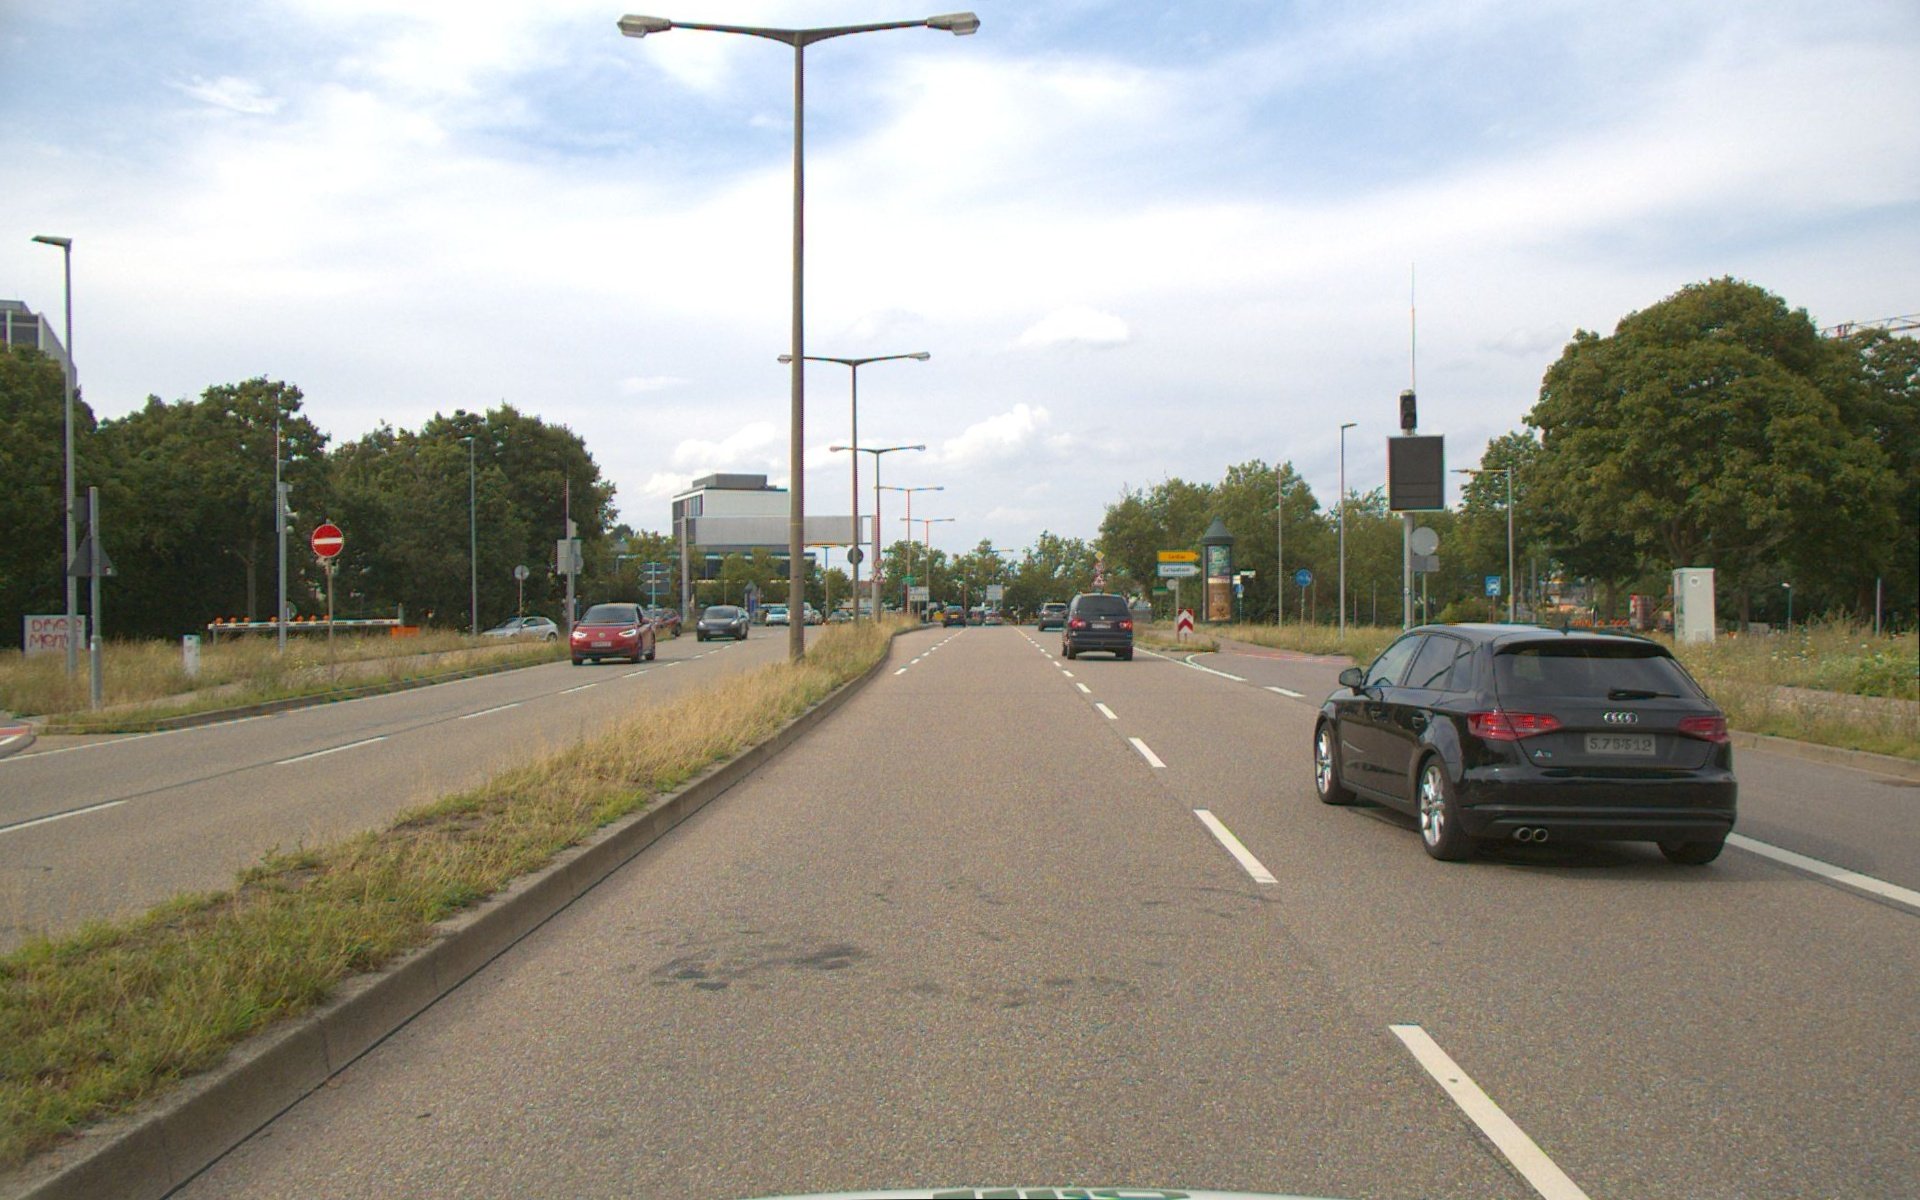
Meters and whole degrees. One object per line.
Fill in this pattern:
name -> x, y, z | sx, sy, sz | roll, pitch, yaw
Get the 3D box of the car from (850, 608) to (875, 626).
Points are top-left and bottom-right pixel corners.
car -> -8.686, 1.532, 147.775 | 1.631, 1.450, 4.520 | -2, -1, 4

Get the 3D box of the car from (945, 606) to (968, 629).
car -> -0.278, 1.341, 127.815 | 1.695, 1.682, 4.114 | 0, 0, 0

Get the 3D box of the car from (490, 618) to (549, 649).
car -> -19.810, 1.492, 74.512 | 1.241, 1.296, 3.011 | -1, 0, 14

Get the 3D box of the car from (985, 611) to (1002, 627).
car -> 3.375, 1.939, 167.812 | 1.695, 1.553, 4.115 | 0, 0, 0

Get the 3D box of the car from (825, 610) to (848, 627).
car -> -12.079, 1.841, 161.795 | 1.756, 1.551, 4.594 | -2, -1, 1

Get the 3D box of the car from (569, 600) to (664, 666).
car -> -9.101, 0.842, 44.130 | 1.618, 1.602, 4.337 | -3, 0, -1

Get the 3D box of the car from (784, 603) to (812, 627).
car -> -11.634, 1.047, 119.071 | 1.710, 1.626, 4.563 | -1, 0, -2

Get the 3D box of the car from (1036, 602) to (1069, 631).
car -> 5.323, 0.942, 95.581 | 1.695, 1.682, 4.114 | 0, 0, 0

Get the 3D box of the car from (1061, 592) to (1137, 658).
car -> 3.717, 0.651, 44.724 | 1.695, 1.682, 4.114 | 0, 0, 0

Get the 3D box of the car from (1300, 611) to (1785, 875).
car -> 3.636, 0.802, 11.161 | 1.696, 1.419, 4.113 | 1, 0, -2

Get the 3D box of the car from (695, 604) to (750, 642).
car -> -10.044, 0.946, 70.171 | 1.710, 1.501, 4.564 | -1, 0, -1

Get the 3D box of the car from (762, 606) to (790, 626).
car -> -14.520, 1.271, 130.892 | 1.631, 1.443, 4.093 | -2, 1, 1
